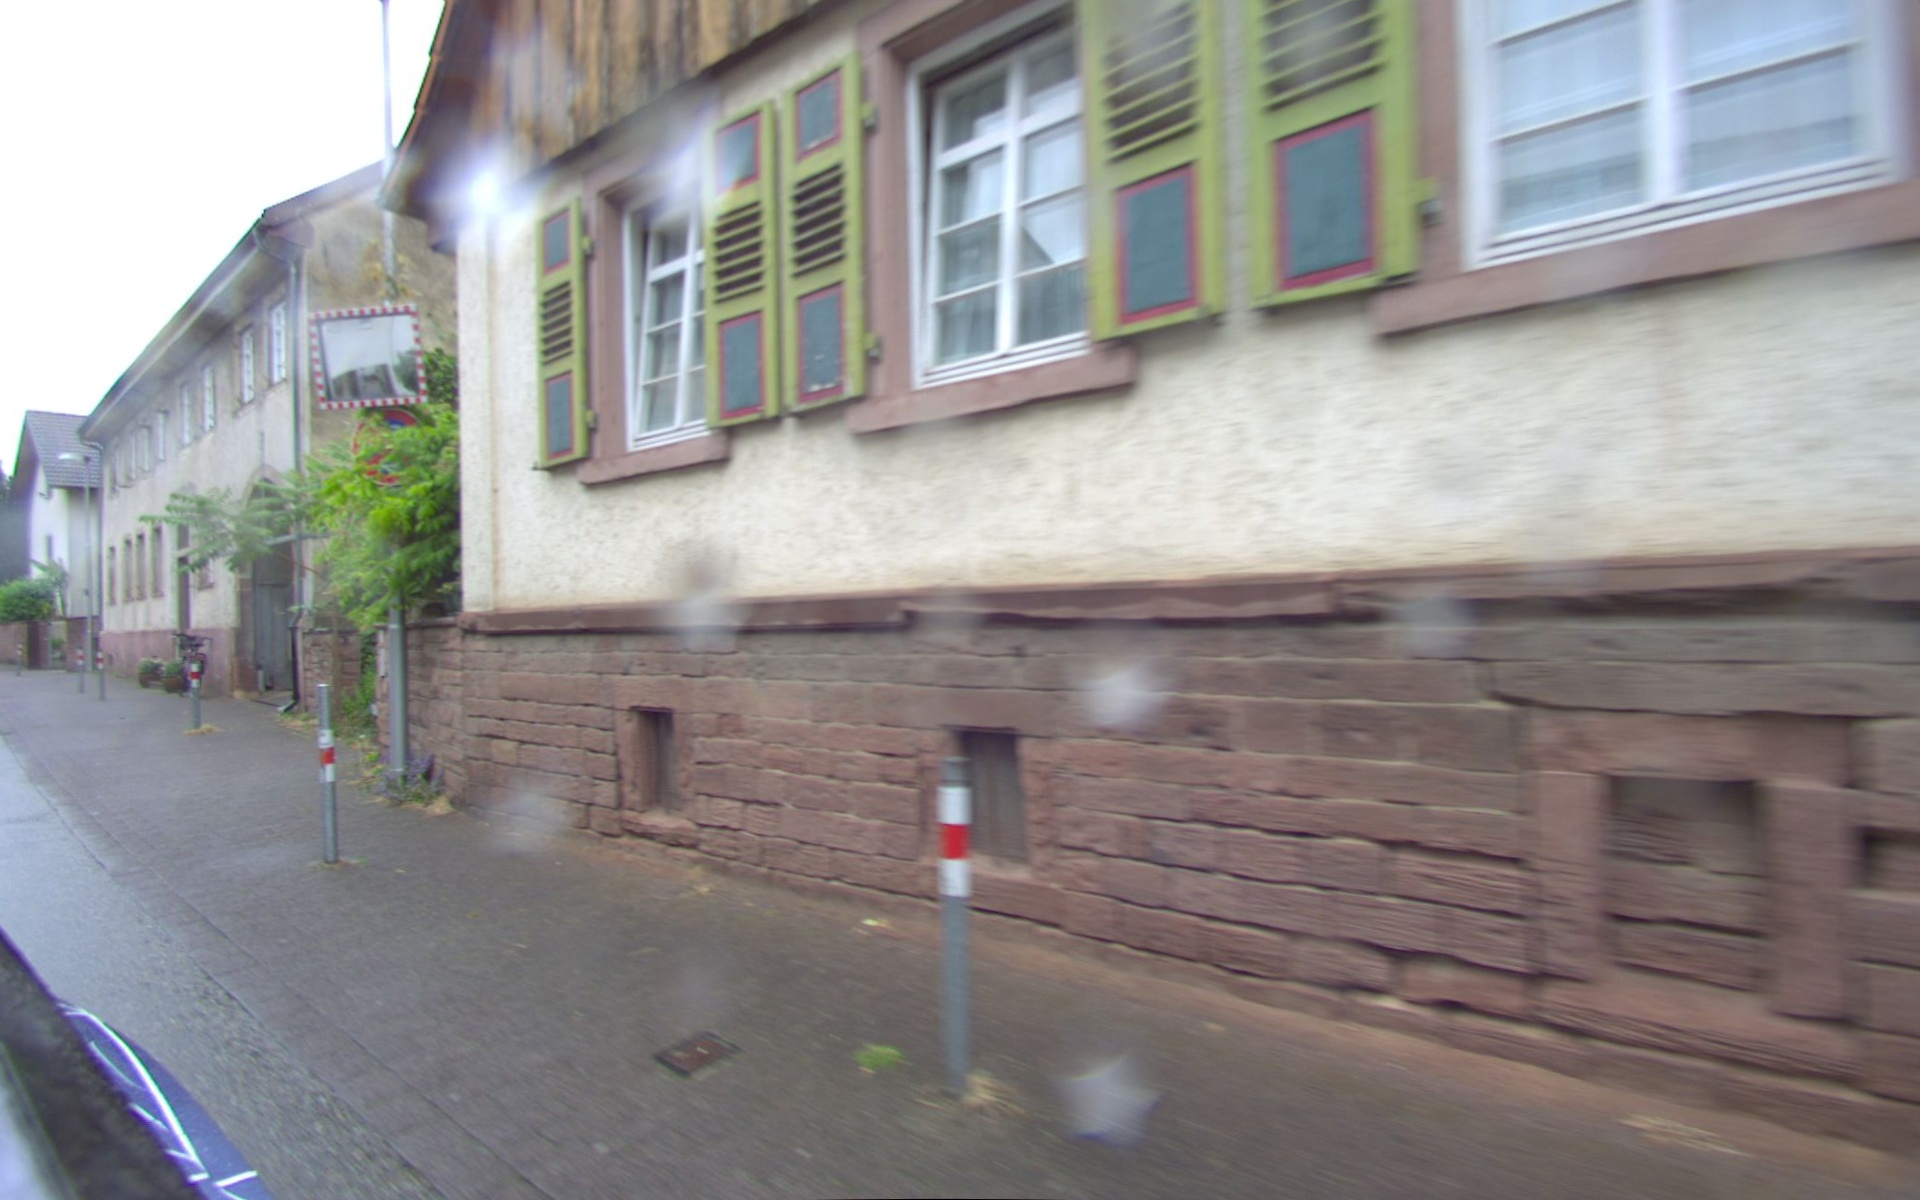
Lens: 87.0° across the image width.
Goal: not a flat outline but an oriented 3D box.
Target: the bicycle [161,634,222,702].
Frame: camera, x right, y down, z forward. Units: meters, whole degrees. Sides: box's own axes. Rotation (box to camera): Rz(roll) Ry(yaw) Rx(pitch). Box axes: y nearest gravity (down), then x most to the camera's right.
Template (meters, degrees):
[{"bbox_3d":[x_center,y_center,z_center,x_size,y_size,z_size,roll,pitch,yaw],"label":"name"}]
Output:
[{"bbox_3d":[-14.270,1.243,18.776,1.873,1.187,0.477,-3,0,41],"label":"bicycle"}]

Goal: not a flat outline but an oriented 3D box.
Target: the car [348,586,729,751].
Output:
[{"bbox_3d":[-5.111,0.715,12.553,3.939,1.436,1.738,-6,3,-41],"label":"car"}]
